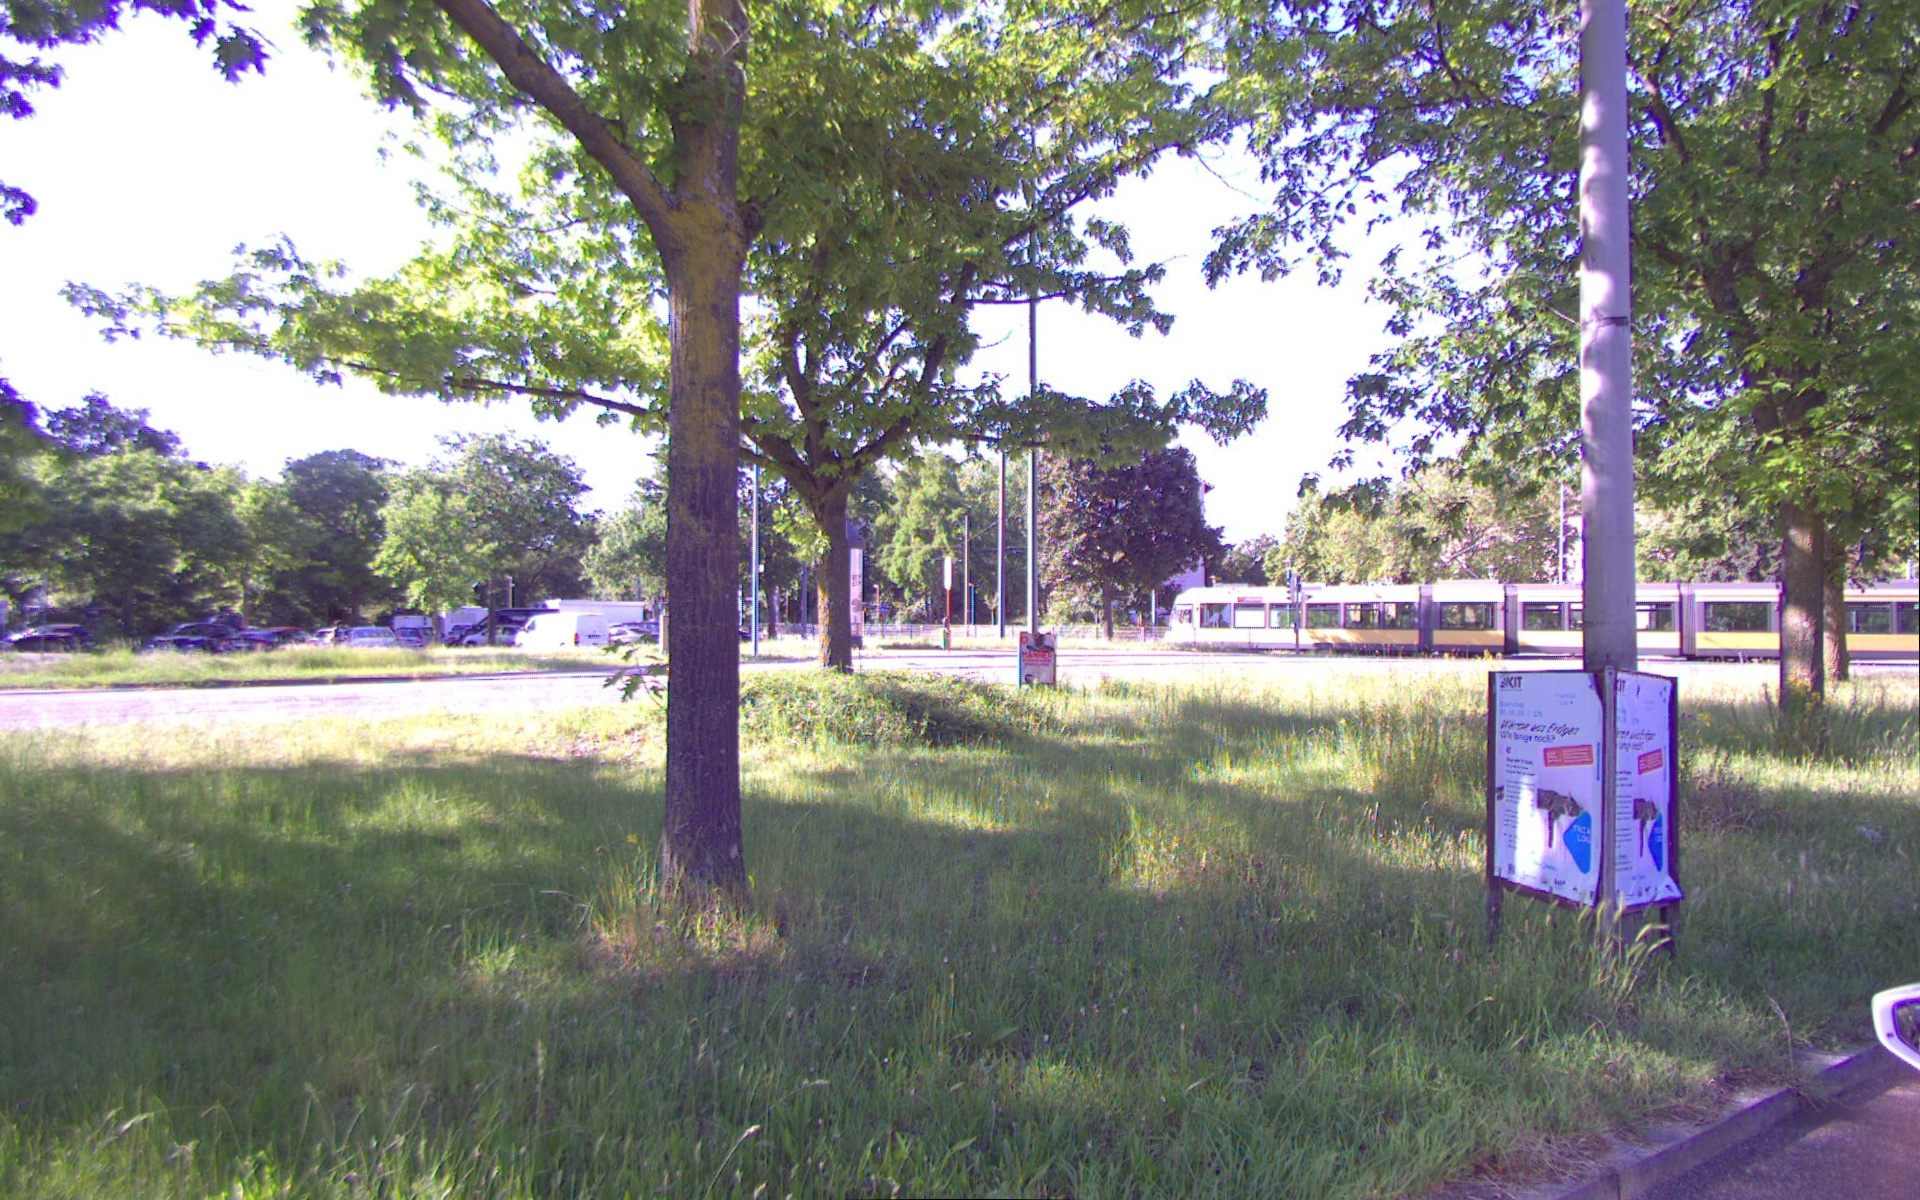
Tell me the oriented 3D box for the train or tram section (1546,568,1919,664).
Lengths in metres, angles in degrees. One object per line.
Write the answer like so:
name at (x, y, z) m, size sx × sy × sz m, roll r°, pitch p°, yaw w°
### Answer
train or tram section at (36.469, 0.664, 42.080) m, size 20.390 × 3.820 × 3.308 m, roll 0°, pitch -1°, yaw 16°

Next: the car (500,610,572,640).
car at (-24.127, 1.423, 57.292) m, size 3.698 × 1.691 × 1.883 m, roll 1°, pitch -1°, yaw -23°

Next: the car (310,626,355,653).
car at (-29.291, 1.833, 46.868) m, size 1.603 × 1.194 × 3.047 m, roll 1°, pitch -1°, yaw -35°

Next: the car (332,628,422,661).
car at (-21.823, 1.641, 37.637) m, size 2.769 × 1.171 × 1.326 m, roll 1°, pitch -1°, yaw -40°

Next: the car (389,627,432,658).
car at (-26.698, 2.037, 48.781) m, size 1.602 × 1.438 × 3.050 m, roll 1°, pitch -1°, yaw -33°

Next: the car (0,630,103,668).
car at (-47.508, 2.514, 52.297) m, size 1.966 × 1.817 × 3.990 m, roll 0°, pitch -1°, yaw 32°

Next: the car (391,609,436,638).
car at (-32.485, 1.375, 59.789) m, size 1.865 × 1.691 × 3.733 m, roll 1°, pitch -1°, yaw -22°

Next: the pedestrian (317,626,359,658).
pedestrian at (-25.798, 1.738, 41.638) m, size 1.130 × 1.292 × 1.105 m, roll 0°, pitch -1°, yaw 33°

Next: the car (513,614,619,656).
car at (-17.215, 1.482, 43.803) m, size 4.670 × 1.762 × 2.024 m, roll 0°, pitch -1°, yaw 34°

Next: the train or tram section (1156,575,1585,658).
train or tram section at (19.289, 0.765, 49.133) m, size 19.037 × 3.559 × 3.300 m, roll 0°, pitch -1°, yaw 30°

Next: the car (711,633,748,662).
car at (-12.027, 2.463, 52.490) m, size 1.589 × 1.438 × 3.073 m, roll 0°, pitch -1°, yaw -8°

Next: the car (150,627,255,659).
car at (-26.840, 1.511, 35.631) m, size 1.315 × 1.078 × 2.777 m, roll -1°, pitch -1°, yaw 42°

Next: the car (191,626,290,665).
car at (-25.230, 1.570, 35.247) m, size 2.769 × 1.323 × 1.326 m, roll 1°, pitch -1°, yaw -40°
